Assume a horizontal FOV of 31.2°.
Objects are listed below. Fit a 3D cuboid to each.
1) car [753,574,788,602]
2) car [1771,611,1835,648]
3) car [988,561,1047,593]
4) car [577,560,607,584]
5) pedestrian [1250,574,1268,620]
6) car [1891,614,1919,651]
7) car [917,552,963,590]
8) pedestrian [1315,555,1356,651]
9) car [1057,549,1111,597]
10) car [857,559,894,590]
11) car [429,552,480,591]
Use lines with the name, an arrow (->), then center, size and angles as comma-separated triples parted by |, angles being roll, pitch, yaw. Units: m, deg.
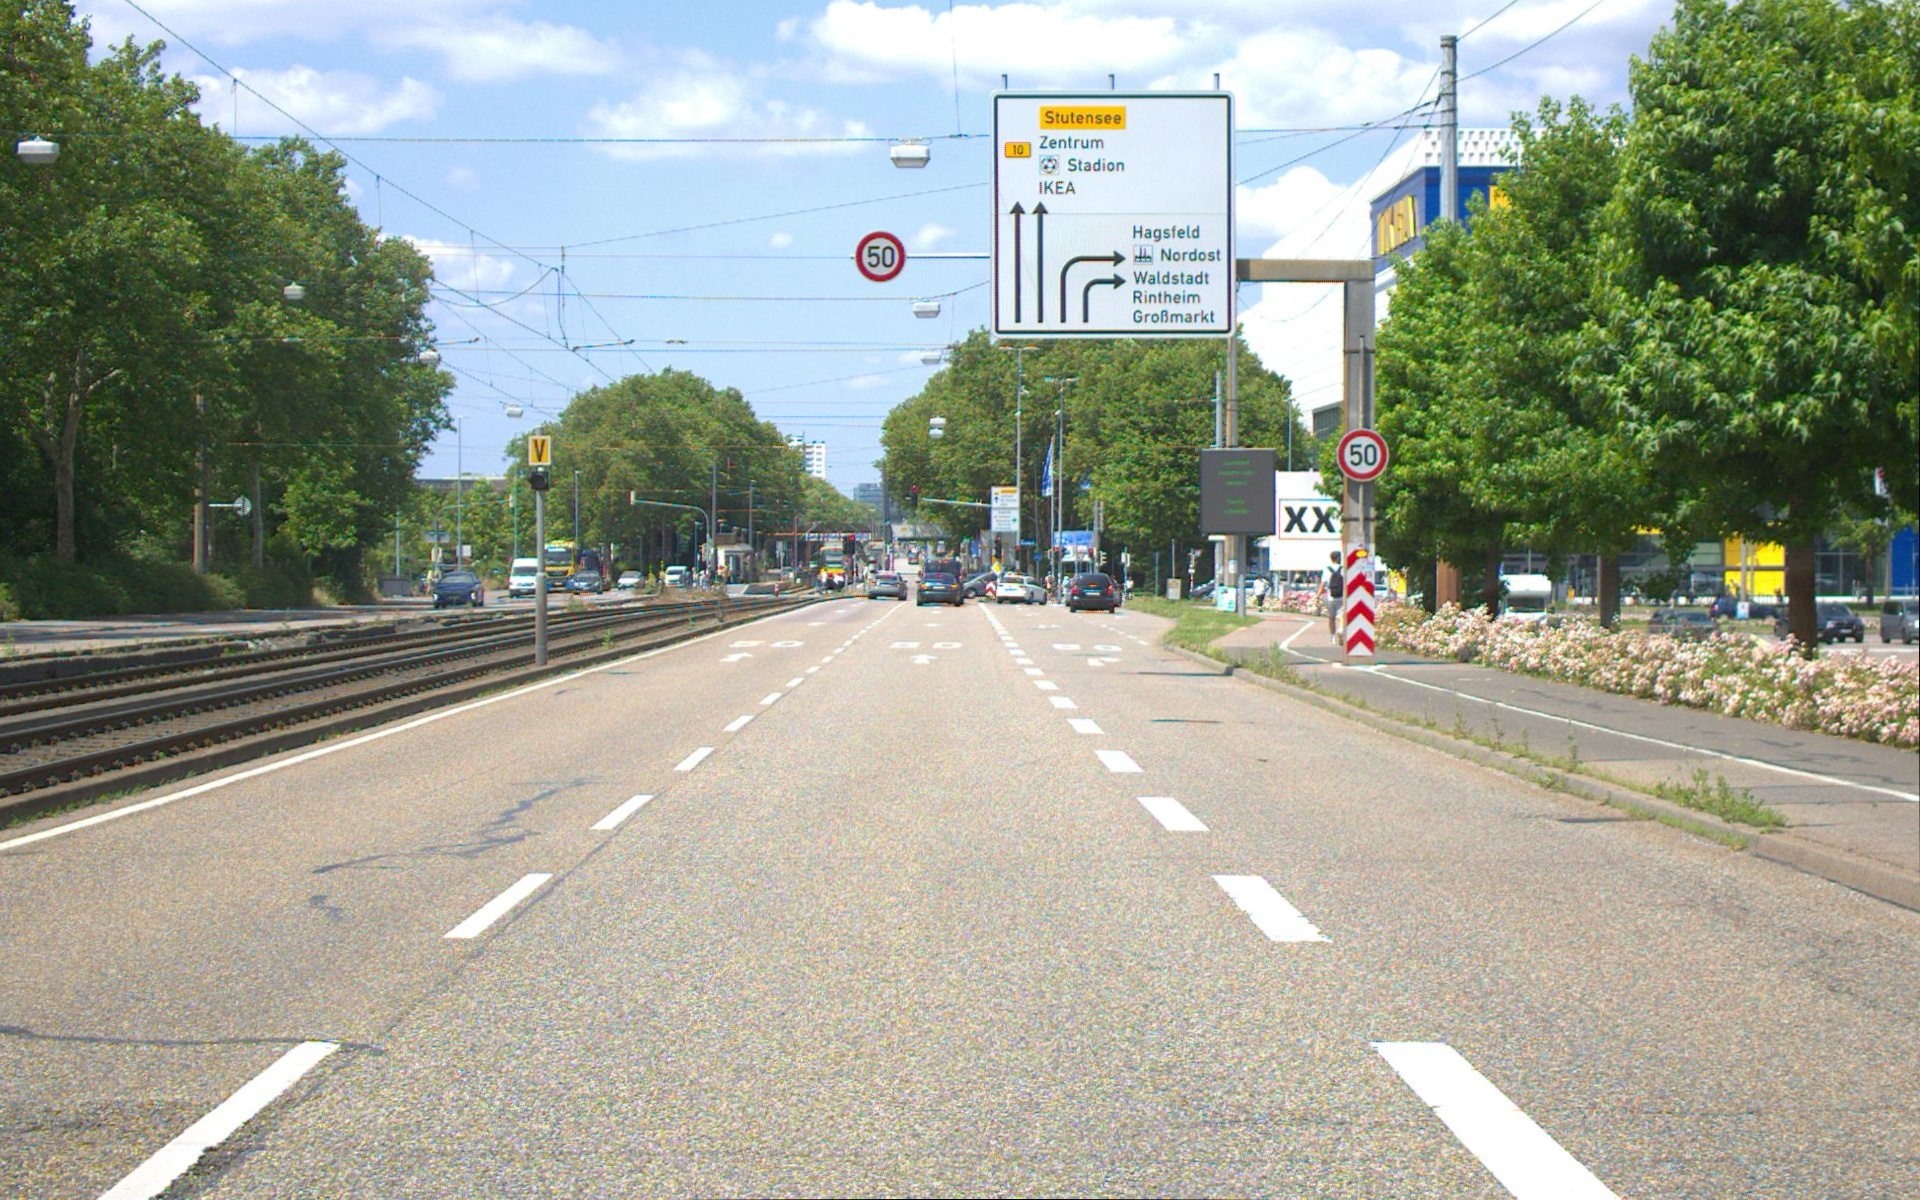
car -> -10.852, -0.703, 197.212 | 1.842, 1.544, 3.777 | 2, 0, -2
car -> 35.898, 1.246, 146.478 | 1.571, 1.478, 3.889 | 2, 0, -2
car -> 3.016, -1.198, 178.374 | 1.687, 1.544, 3.979 | 2, 1, 22
car -> -25.041, -1.913, 233.869 | 1.623, 1.544, 3.704 | 2, 0, -1
pedestrian -> 11.706, -0.103, 134.618 | 0.580, 1.786, 0.590 | 2, 0, -2
car -> 40.245, 1.385, 143.425 | 1.571, 1.478, 3.889 | 2, 0, -2
car -> -0.863, -1.233, 146.940 | 1.876, 1.534, 3.777 | 2, 0, -1
pedestrian -> 7.159, 0.053, 65.589 | 0.669, 1.786, 0.924 | 2, 0, 2
car -> 4.879, -1.074, 135.803 | 1.899, 1.799, 3.976 | 2, 0, -1
car -> -4.421, -1.338, 180.044 | 1.842, 1.544, 3.777 | 2, 0, -2
car -> -21.114, -1.197, 143.683 | 1.644, 1.545, 4.217 | 2, 0, -2
